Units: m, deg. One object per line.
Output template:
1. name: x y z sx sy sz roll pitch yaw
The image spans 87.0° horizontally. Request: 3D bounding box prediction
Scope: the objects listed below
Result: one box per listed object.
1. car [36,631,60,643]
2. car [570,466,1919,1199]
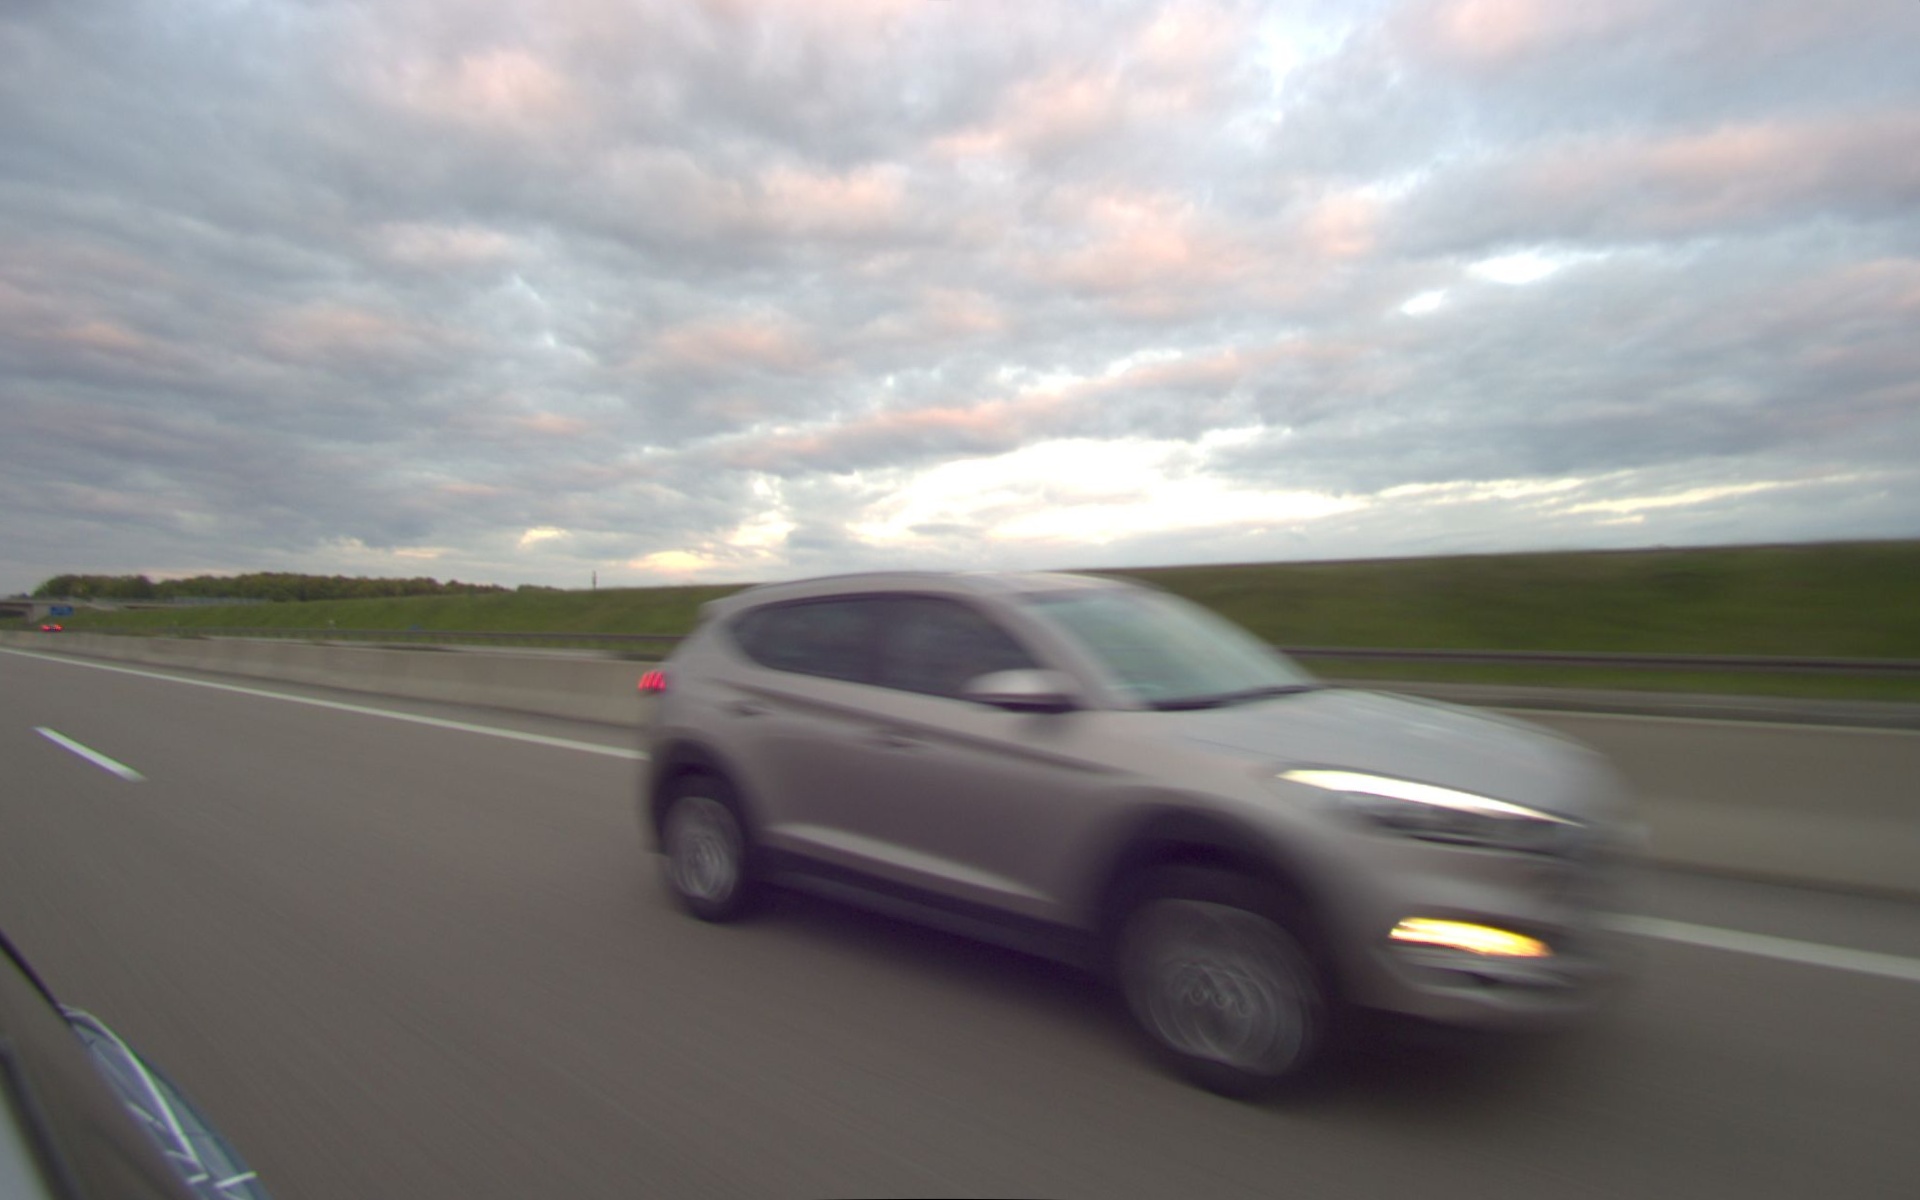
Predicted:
1. car: -114.446 4.620 127.016 4.340 1.403 1.720 -1 -2 41
2. car: 0.549 0.644 4.323 5.510 1.705 1.833 -1 -1 42
